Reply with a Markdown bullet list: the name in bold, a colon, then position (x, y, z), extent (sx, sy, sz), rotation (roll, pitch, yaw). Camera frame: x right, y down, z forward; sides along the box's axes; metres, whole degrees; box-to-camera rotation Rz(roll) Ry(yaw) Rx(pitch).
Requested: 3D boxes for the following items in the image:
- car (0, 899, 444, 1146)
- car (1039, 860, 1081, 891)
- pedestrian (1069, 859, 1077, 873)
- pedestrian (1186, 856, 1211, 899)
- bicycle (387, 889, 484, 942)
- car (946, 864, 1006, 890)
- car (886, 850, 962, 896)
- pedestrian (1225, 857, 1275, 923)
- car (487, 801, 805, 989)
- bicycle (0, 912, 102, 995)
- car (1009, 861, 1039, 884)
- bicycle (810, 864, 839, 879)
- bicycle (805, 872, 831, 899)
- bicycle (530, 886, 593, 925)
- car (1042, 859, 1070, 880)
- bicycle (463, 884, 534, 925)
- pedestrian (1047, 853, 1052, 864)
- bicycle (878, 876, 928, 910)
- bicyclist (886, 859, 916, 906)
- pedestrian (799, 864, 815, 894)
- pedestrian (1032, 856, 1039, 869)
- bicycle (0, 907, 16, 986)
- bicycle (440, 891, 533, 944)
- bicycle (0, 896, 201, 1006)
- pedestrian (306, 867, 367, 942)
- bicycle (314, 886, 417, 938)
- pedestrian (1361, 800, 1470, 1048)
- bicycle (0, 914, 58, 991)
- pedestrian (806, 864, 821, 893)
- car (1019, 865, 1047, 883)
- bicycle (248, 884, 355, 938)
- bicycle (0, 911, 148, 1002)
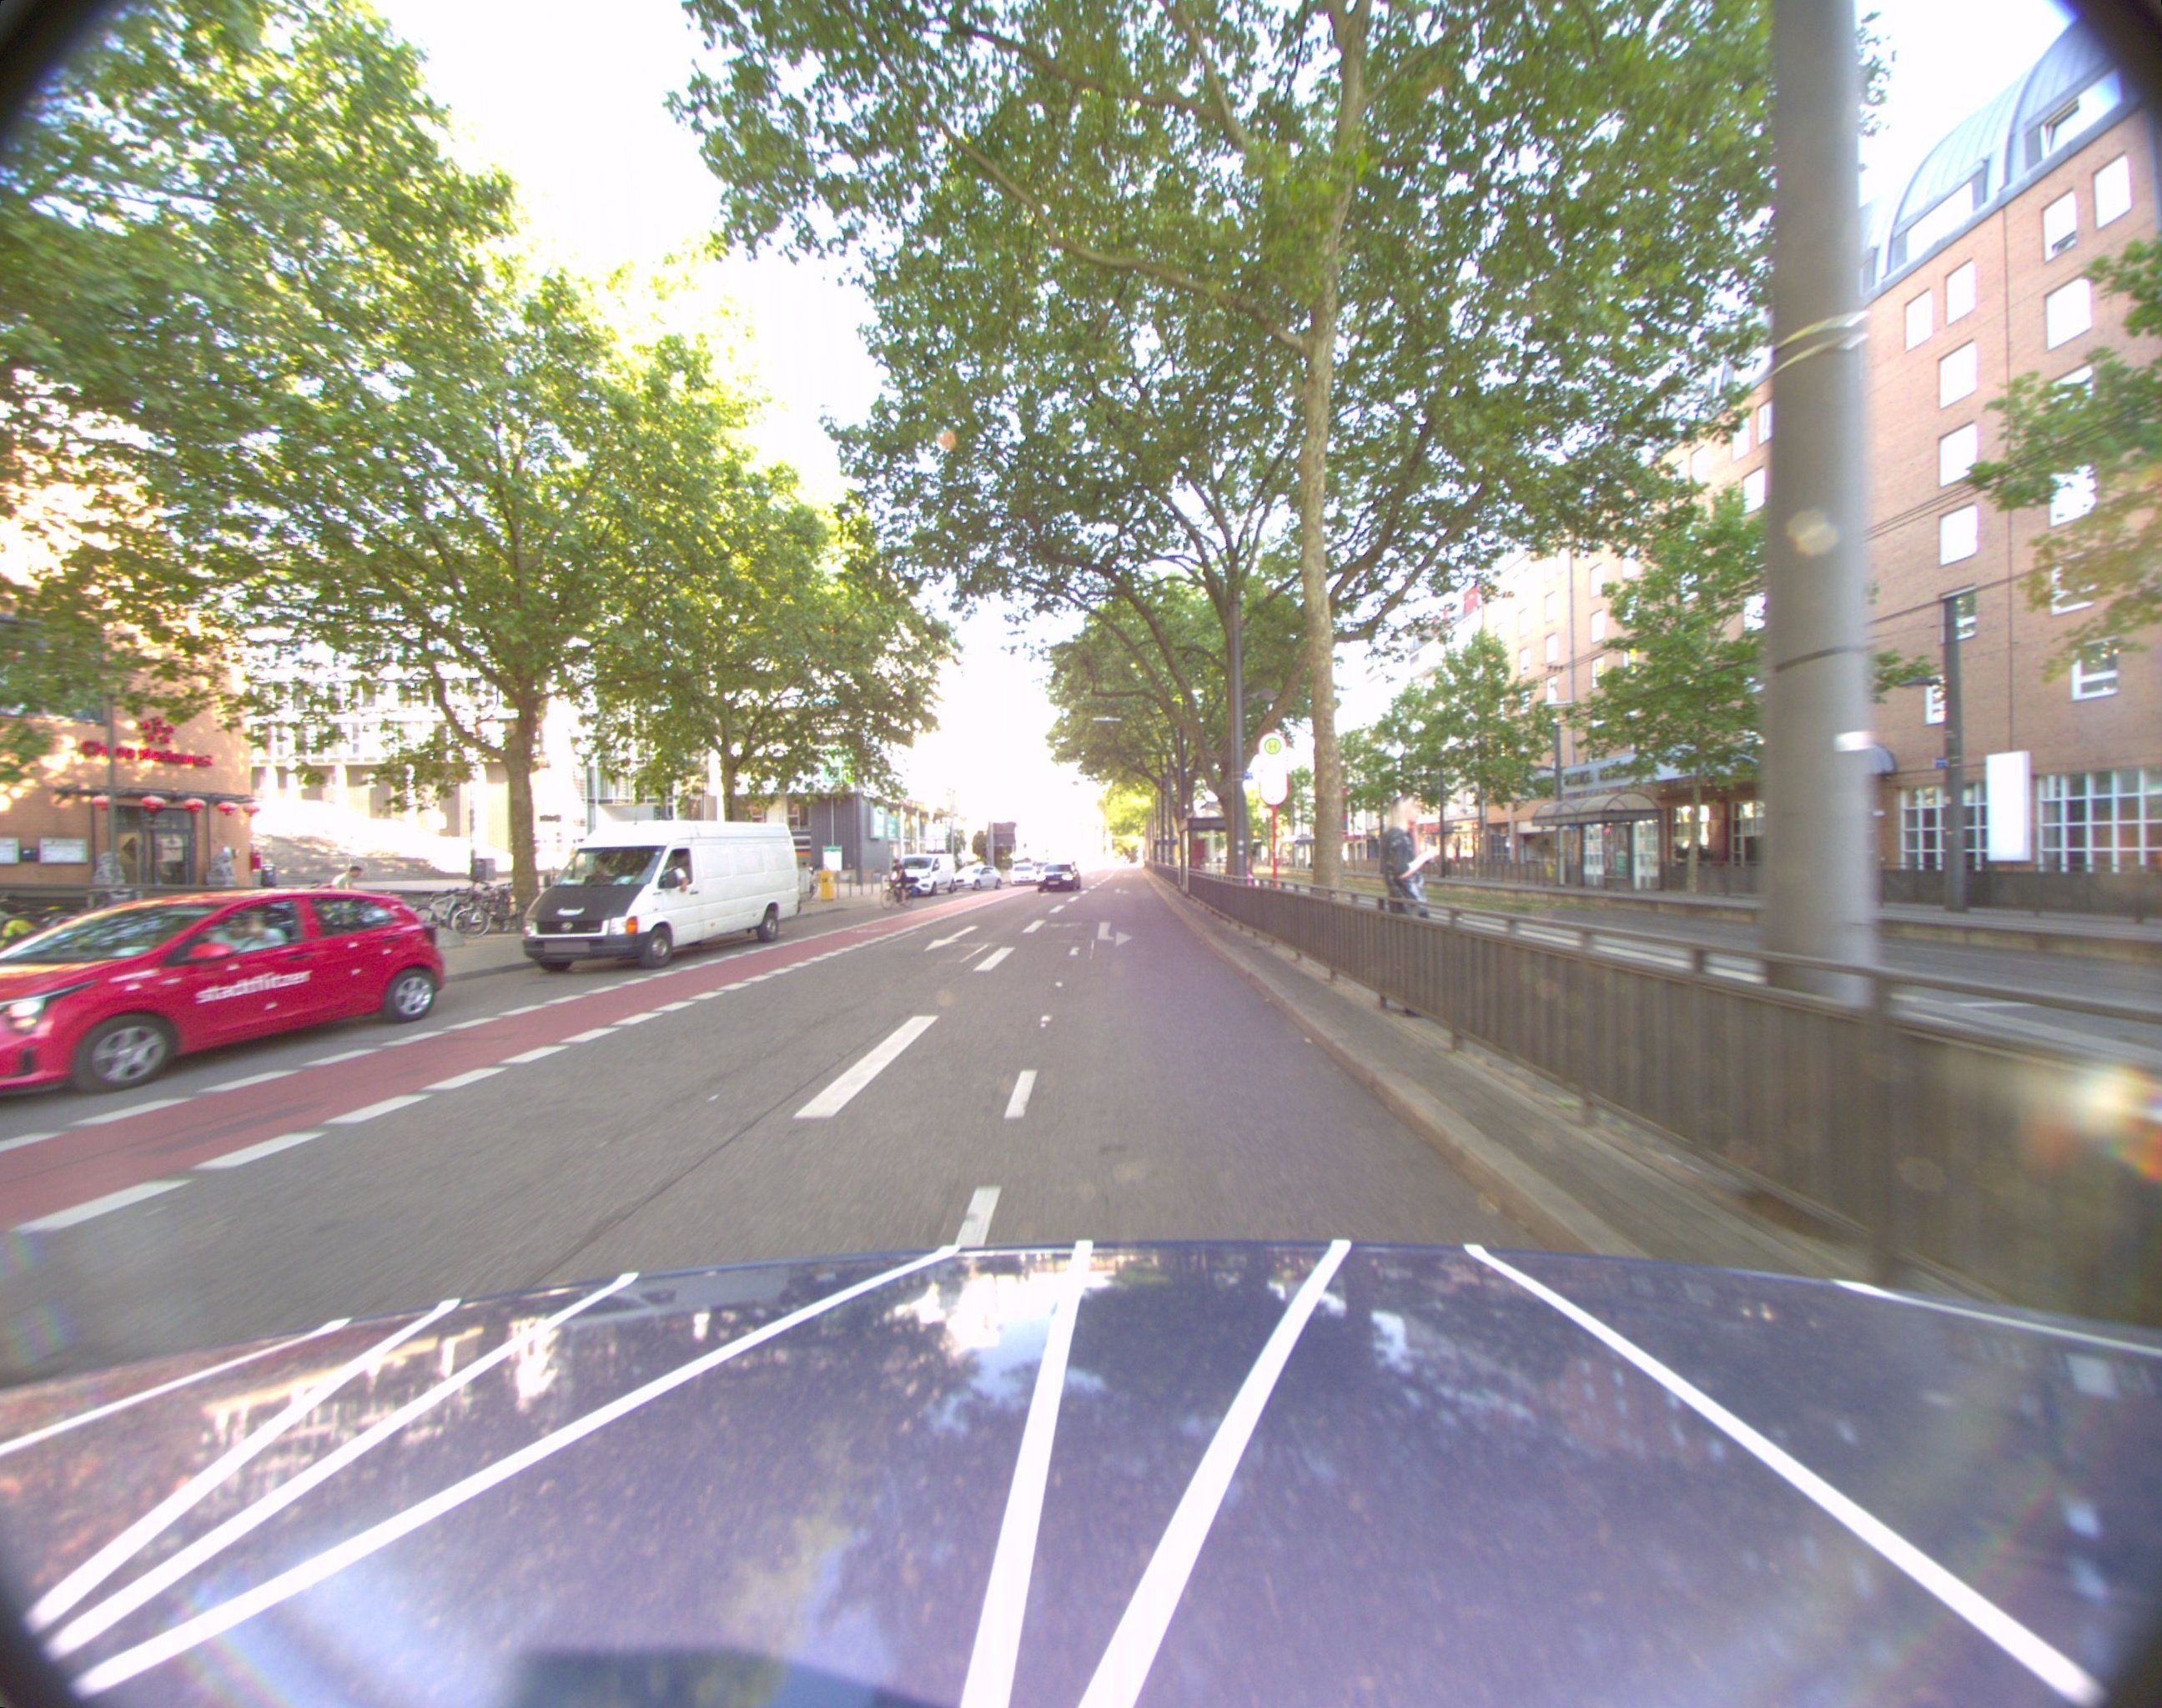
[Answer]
- **car**: position (-8.011, 1.253, 6.758), extent (1.562, 1.455, 3.621), rotation (-2, 0, 1)
- **car**: position (-1.022, 1.054, 38.699), extent (1.827, 1.416, 4.347), rotation (-2, 0, 2)
- **pedestrian**: position (-0.674, 1.042, 66.493), extent (0.665, 1.218, 0.775), rotation (0, 0, 4)
- **pedestrian**: position (3.913, 0.771, 25.250), extent (0.735, 1.379, 0.640), rotation (-2, 1, 6)
- **bicycle**: position (-14.399, 1.351, 17.005), extent (0.596, 1.040, 1.656), rotation (0, 0, 9)
- **car**: position (-6.149, 1.324, 44.929), extent (1.783, 1.411, 4.028), rotation (0, 0, 22)
- **car**: position (-7.689, 0.883, 37.722), extent (2.127, 2.121, 5.292), rotation (-1, 0, 6)
- **pedestrian**: position (3.772, 0.794, 17.041), extent (0.979, 1.392, 0.664), rotation (-2, 1, 6)
- **car**: position (-7.637, 0.616, 14.530), extent (1.998, 2.708, 6.562), rotation (-2, 0, 2)
- **bicycle**: position (-14.604, 1.362, 10.262), extent (0.597, 1.025, 1.655), rotation (-1, 0, 1)
- **car**: position (-3.967, 1.253, 52.273), extent (1.673, 1.455, 3.865), rotation (-1, 0, -11)
- **bicycle**: position (-18.778, 1.256, 55.647), extent (1.879, 1.057, 0.700), rotation (0, 0, 2)
- **bicycle**: position (-11.563, 1.364, 33.406), extent (0.514, 1.151, 1.540), rotation (-1, 0, 3)
- **bicycle**: position (-15.013, 1.473, 22.012), extent (0.597, 1.040, 1.655), rotation (-1, 0, 4)
- **car**: position (-1.950, 1.221, 60.655), extent (1.785, 1.628, 4.023), rotation (-1, 0, 4)
- **bicycle**: position (-16.242, 1.382, 21.231), extent (0.597, 1.040, 1.655), rotation (-1, 0, 4)
- **pedestrian**: position (-4.549, 0.718, 110.212), extent (0.692, 1.573, 0.664), rotation (2, 1, 5)
- **bicycle**: position (-6.429, 1.390, 27.589), extent (0.550, 1.114, 2.130), rotation (0, 0, 25)
- **bicyclist**: position (-6.530, 1.028, 27.545), extent (0.751, 1.678, 0.716), rotation (0, 0, 24)
- **pedestrian**: position (-14.474, 1.314, 40.134), extent (0.577, 1.534, 0.638), rotation (0, 0, 10)
- **pedestrian**: position (-5.314, 0.982, 88.792), extent (0.753, 1.565, 0.912), rotation (-1, 0, 6)
- **bicycle**: position (-15.821, 1.335, 10.261), extent (0.503, 1.130, 1.655), rotation (-1, 0, 1)
- **bicycle**: position (-13.173, 1.374, 16.901), extent (0.596, 1.040, 1.656), rotation (0, 0, 9)
- **bicycle**: position (-13.281, 1.241, 10.248), extent (0.597, 1.257, 1.876), rotation (-1, 0, 1)
- **pedestrian**: position (-16.476, 1.100, 16.819), extent (0.718, 1.622, 0.636), rotation (0, 0, 7)
- **bicycle**: position (-15.836, 1.263, 16.866), extent (0.596, 1.040, 1.656), rotation (0, 0, 7)
- **pedestrian**: position (2.706, 0.536, 6.208), extent (0.511, 1.889, 0.760), rotation (-2, 1, 2)
- **bicycle**: position (-15.250, 1.389, 10.299), extent (0.503, 1.025, 1.655), rotation (-1, 0, 1)
- **pedestrian**: position (-14.385, 1.301, 40.881), extent (0.516, 1.514, 0.636), rotation (0, 0, 10)
- **car**: position (-4.368, 1.827, 69.837), extent (1.998, 1.586, 4.001), rotation (-1, 0, 3)
- **bicycle**: position (-17.844, 1.282, 17.443), extent (0.596, 1.119, 1.656), rotation (0, 0, 9)
- **bicycle**: position (-13.928, 1.352, 10.263), extent (0.597, 1.025, 1.655), rotation (-1, 0, 1)
